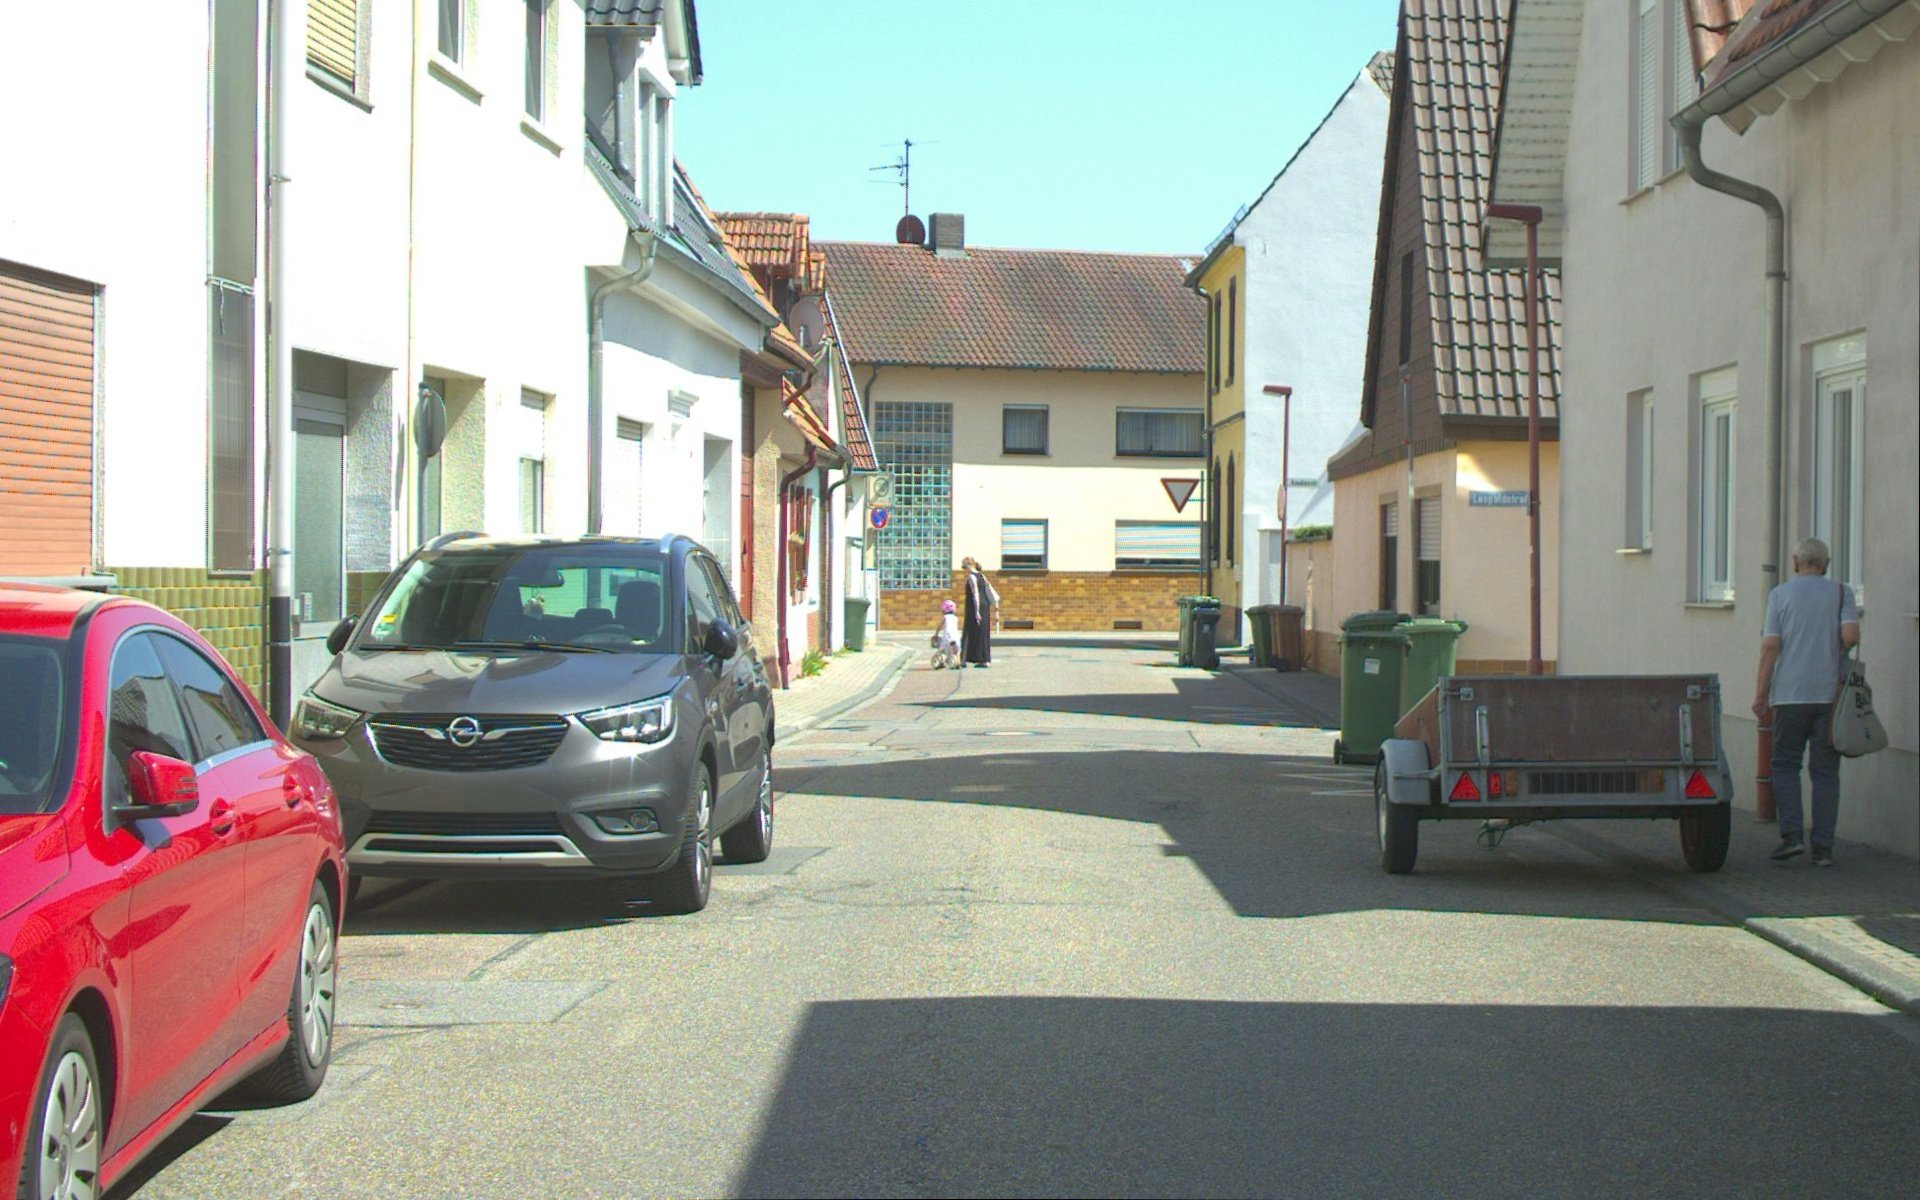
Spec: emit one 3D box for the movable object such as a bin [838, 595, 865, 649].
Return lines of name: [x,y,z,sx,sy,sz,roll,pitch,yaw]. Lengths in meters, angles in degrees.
movable object such as a bin: [-1.844,0.370,58.614,0.448,0.918,0.404,0,0,-1]

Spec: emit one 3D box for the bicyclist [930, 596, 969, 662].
bicyclist: [-0.151,0.429,50.536,0.461,0.956,0.352,0,1,-27]

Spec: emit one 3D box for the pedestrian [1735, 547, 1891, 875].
pedestrian: [4.128,0.542,16.666,0.595,1.559,0.557,0,-3,-1]

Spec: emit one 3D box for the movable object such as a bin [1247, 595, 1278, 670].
movable object such as a bin: [4.563,0.489,51.814,0.425,1.124,0.414,0,0,-1]

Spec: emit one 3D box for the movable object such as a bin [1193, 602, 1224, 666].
movable object such as a bin: [3.784,0.516,52.401,0.424,0.972,0.473,0,0,-1]

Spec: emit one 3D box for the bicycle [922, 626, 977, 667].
bicycle: [-0.157,0.682,50.537,0.441,0.565,0.939,0,1,-27]

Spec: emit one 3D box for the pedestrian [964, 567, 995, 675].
pedestrian: [0.289,0.309,51.162,0.411,1.604,0.368,0,0,-8]

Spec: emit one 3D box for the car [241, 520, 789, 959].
car: [-1.866,0.534,15.779,1.800,1.698,4.487,-1,0,1]

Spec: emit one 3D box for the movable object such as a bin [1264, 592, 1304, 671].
movable object such as a bin: [4.642,0.444,49.244,0.525,1.124,0.366,0,0,-1]

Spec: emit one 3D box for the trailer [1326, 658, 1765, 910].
trailer: [2.847,0.867,17.379,1.699,1.029,3.481,0,1,1]

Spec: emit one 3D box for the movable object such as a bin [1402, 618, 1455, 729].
movable object such as a bin: [4.615,0.721,33.862,0.457,1.083,0.502,0,0,1]

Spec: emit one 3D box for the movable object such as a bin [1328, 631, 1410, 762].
movable object such as a bin: [3.268,0.768,27.496,0.585,1.029,0.595,0,0,1]

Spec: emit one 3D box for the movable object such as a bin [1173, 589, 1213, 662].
movable object such as a bin: [3.592,0.393,53.015,0.569,1.124,0.453,0,0,-1]

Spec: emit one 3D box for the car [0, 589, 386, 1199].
car: [-2.594,0.706,7.921,1.800,1.436,4.487,0,0,0]
